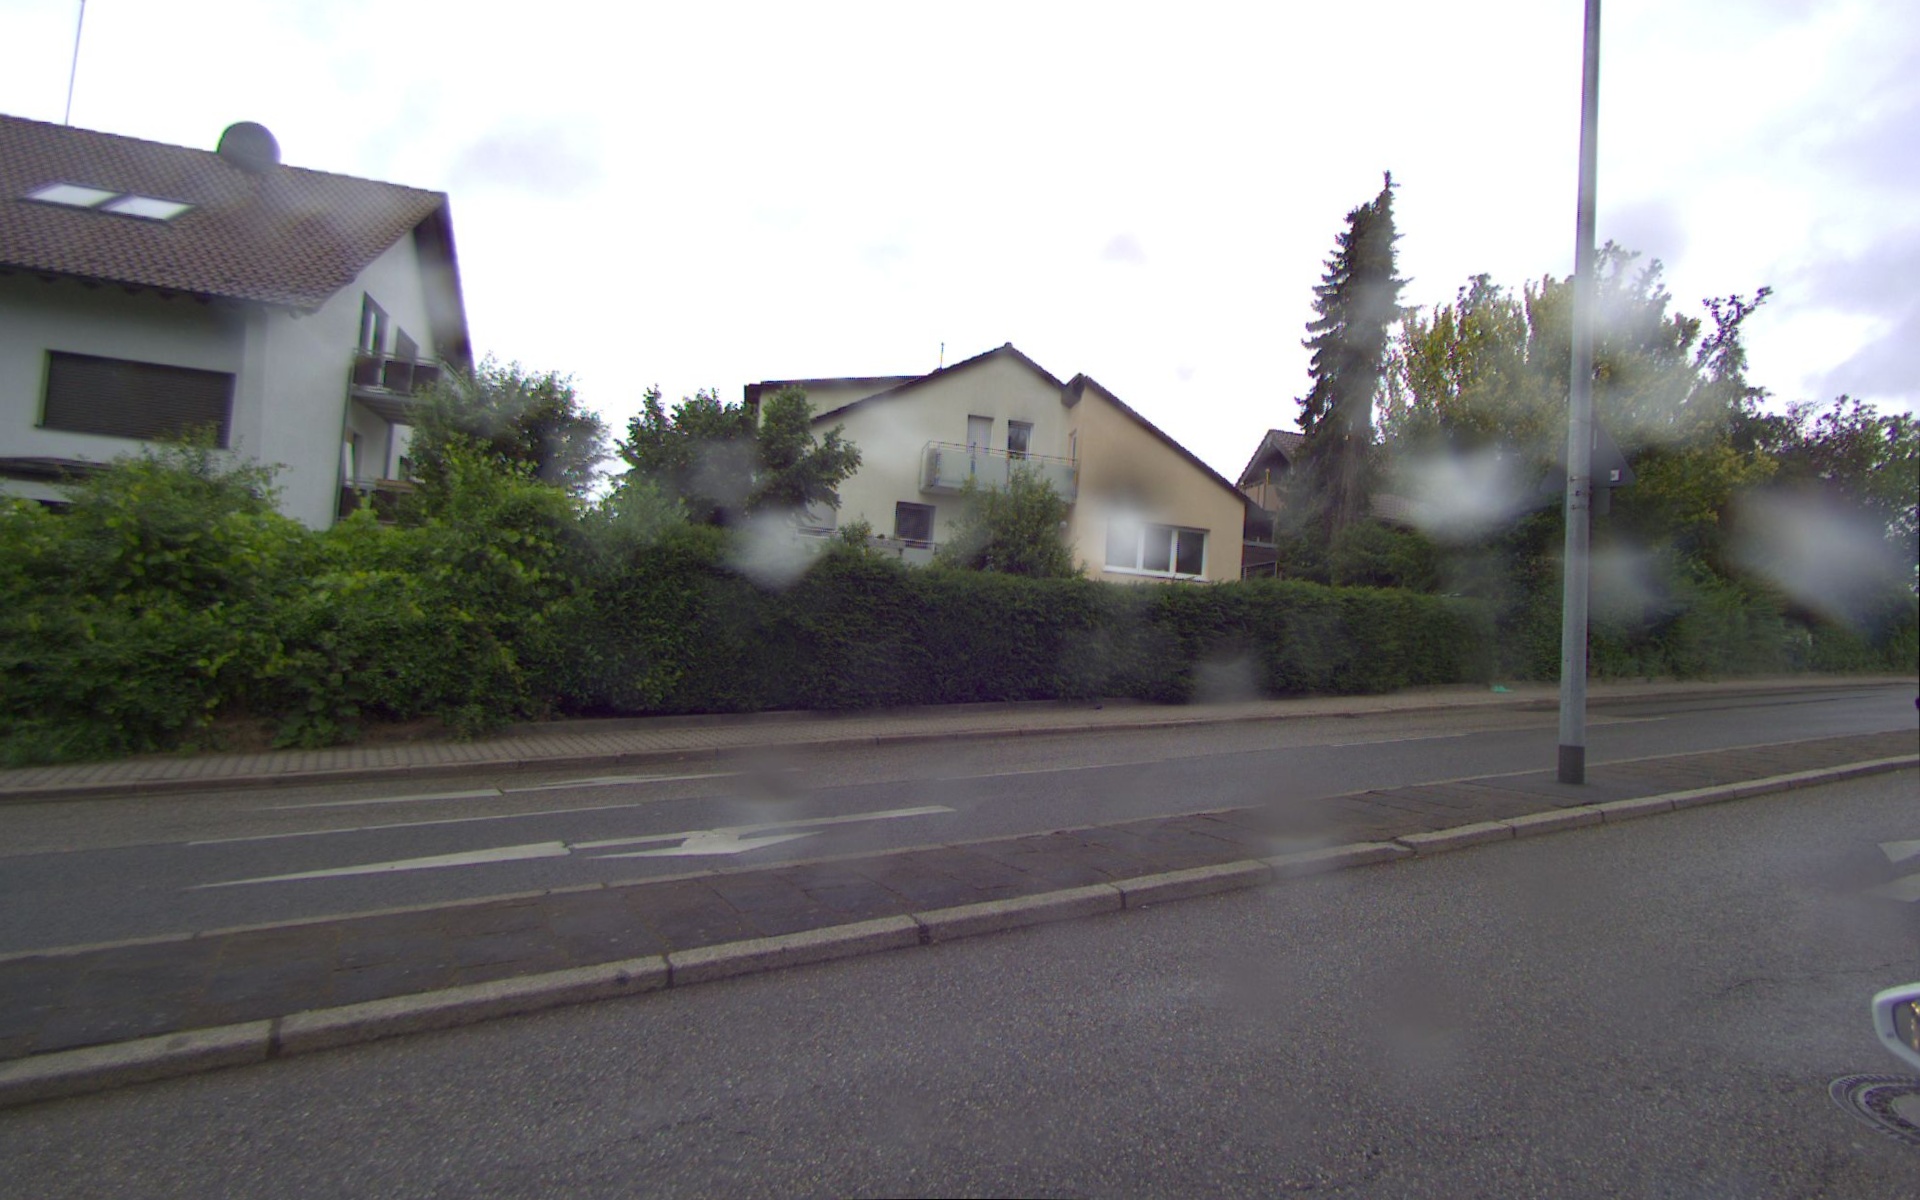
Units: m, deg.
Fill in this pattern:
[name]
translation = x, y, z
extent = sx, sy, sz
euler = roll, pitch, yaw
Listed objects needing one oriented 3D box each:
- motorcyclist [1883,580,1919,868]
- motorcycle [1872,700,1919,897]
[motorcyclist]
translation = 5.957, 0.722, 5.789
extent = 0.666, 1.664, 0.761
euler = 2, -3, -30
[motorcycle]
translation = 6.090, 1.135, 5.839
extent = 1.727, 1.066, 0.687
euler = 3, -3, -31
